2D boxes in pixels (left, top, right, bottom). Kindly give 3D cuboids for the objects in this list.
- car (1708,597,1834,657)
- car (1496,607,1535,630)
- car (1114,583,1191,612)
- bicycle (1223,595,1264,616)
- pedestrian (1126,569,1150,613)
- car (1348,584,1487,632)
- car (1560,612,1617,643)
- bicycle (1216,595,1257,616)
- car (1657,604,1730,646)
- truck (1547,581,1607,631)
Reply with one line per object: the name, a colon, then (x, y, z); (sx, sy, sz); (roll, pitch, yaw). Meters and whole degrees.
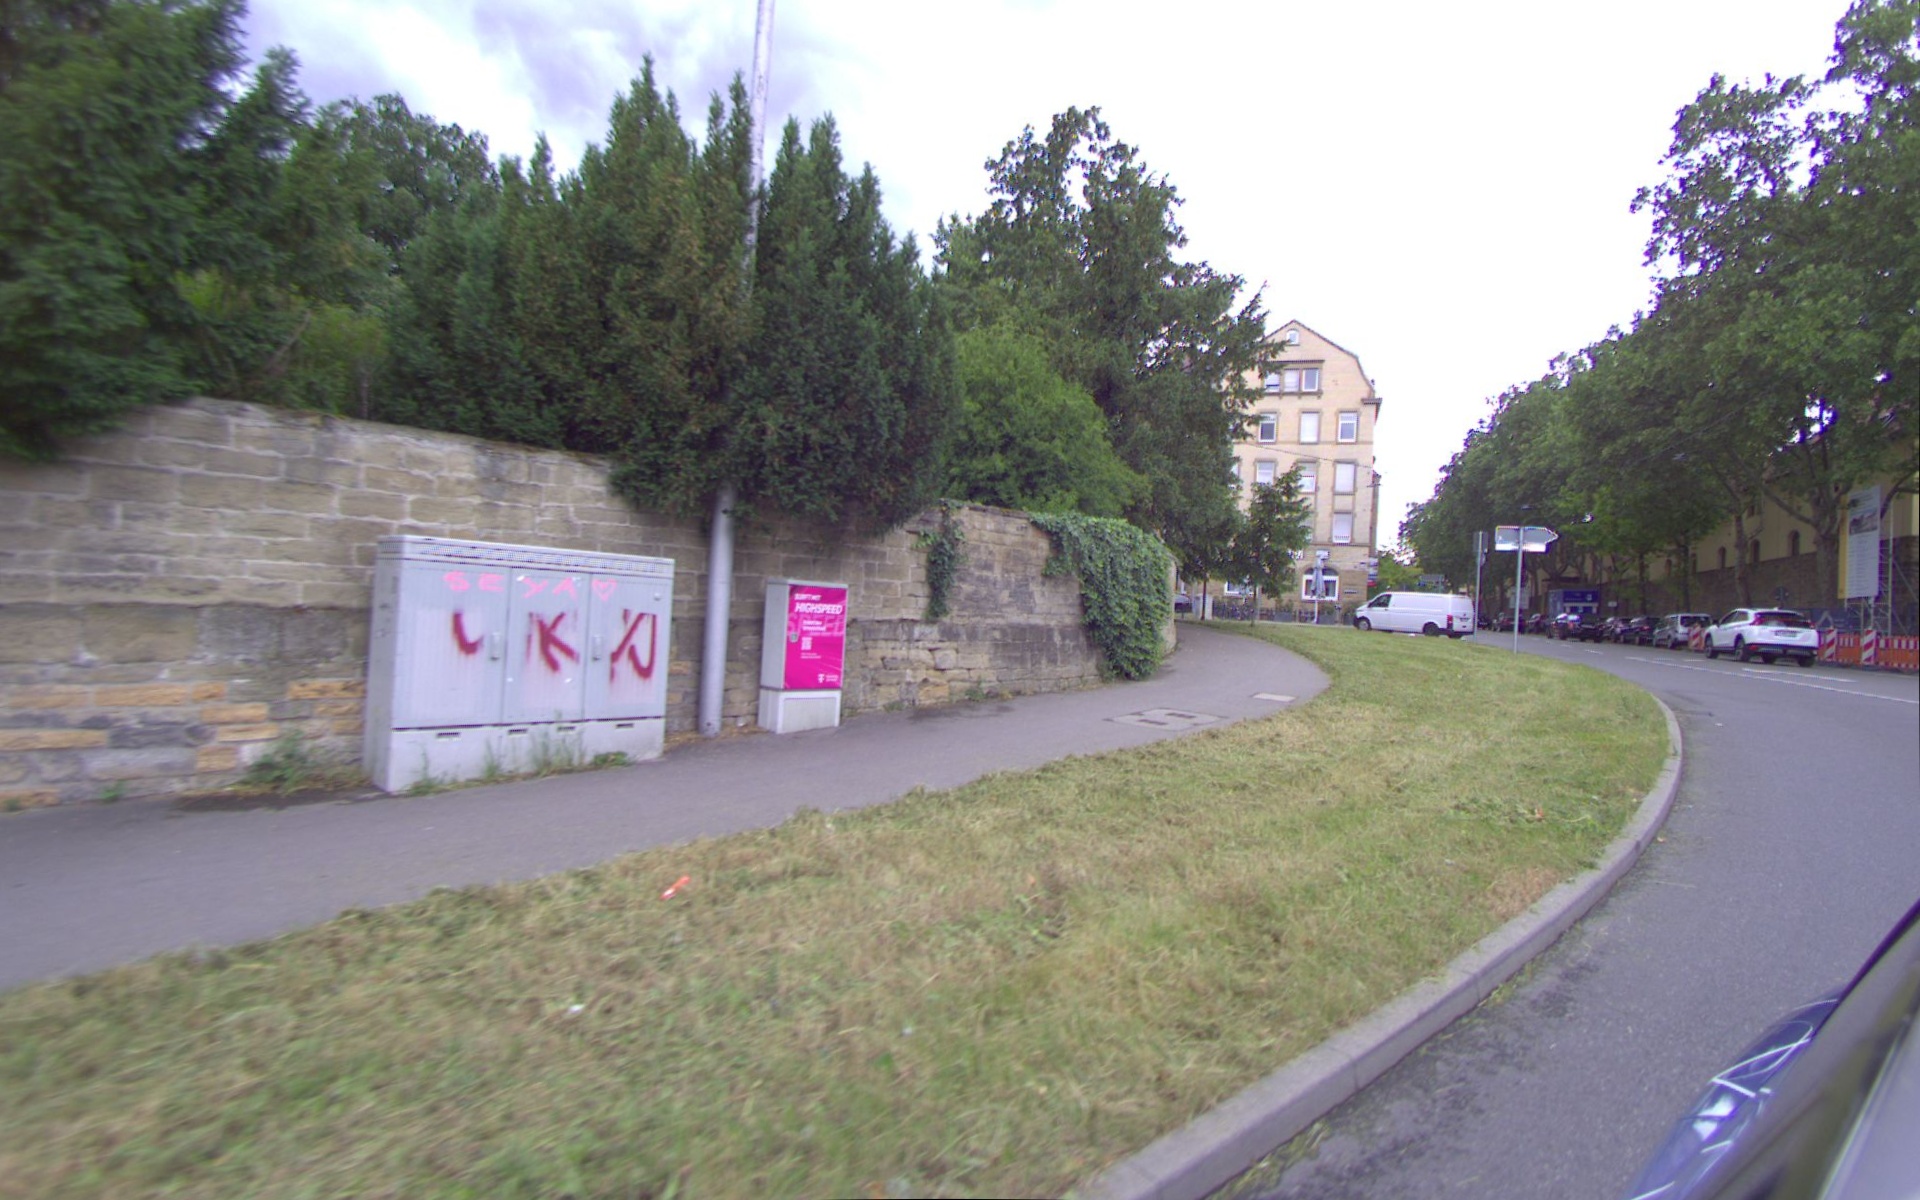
car: (24.737, 0.778, 31.043); (1.777, 1.631, 4.473); (3, 0, 23)
car: (39.037, 1.287, 71.153); (1.684, 1.443, 4.221); (3, 1, 20)
car: (12.048, -0.134, 63.462); (4.280, 1.616, 2.004); (2, 0, -21)
bicycle: (16.302, 0.314, 58.199); (2.177, 1.079, 0.593); (4, 1, 39)
pedestrian: (7.357, -0.377, 41.794); (0.697, 1.756, 0.662); (3, 0, -12)
car: (19.856, 0.293, 44.145); (2.168, 1.955, 5.245); (1, 0, -30)
car: (33.432, 1.418, 53.933); (1.787, 1.491, 4.812); (1, 0, 22)
bicycle: (15.676, 0.311, 57.432); (2.177, 1.079, 0.593); (4, 1, 39)
car: (37.134, 1.216, 51.359); (1.818, 1.899, 4.386); (3, 1, 21)
truck: (44.858, 0.396, 73.778); (2.194, 3.459, 7.201); (0, 0, 19)
